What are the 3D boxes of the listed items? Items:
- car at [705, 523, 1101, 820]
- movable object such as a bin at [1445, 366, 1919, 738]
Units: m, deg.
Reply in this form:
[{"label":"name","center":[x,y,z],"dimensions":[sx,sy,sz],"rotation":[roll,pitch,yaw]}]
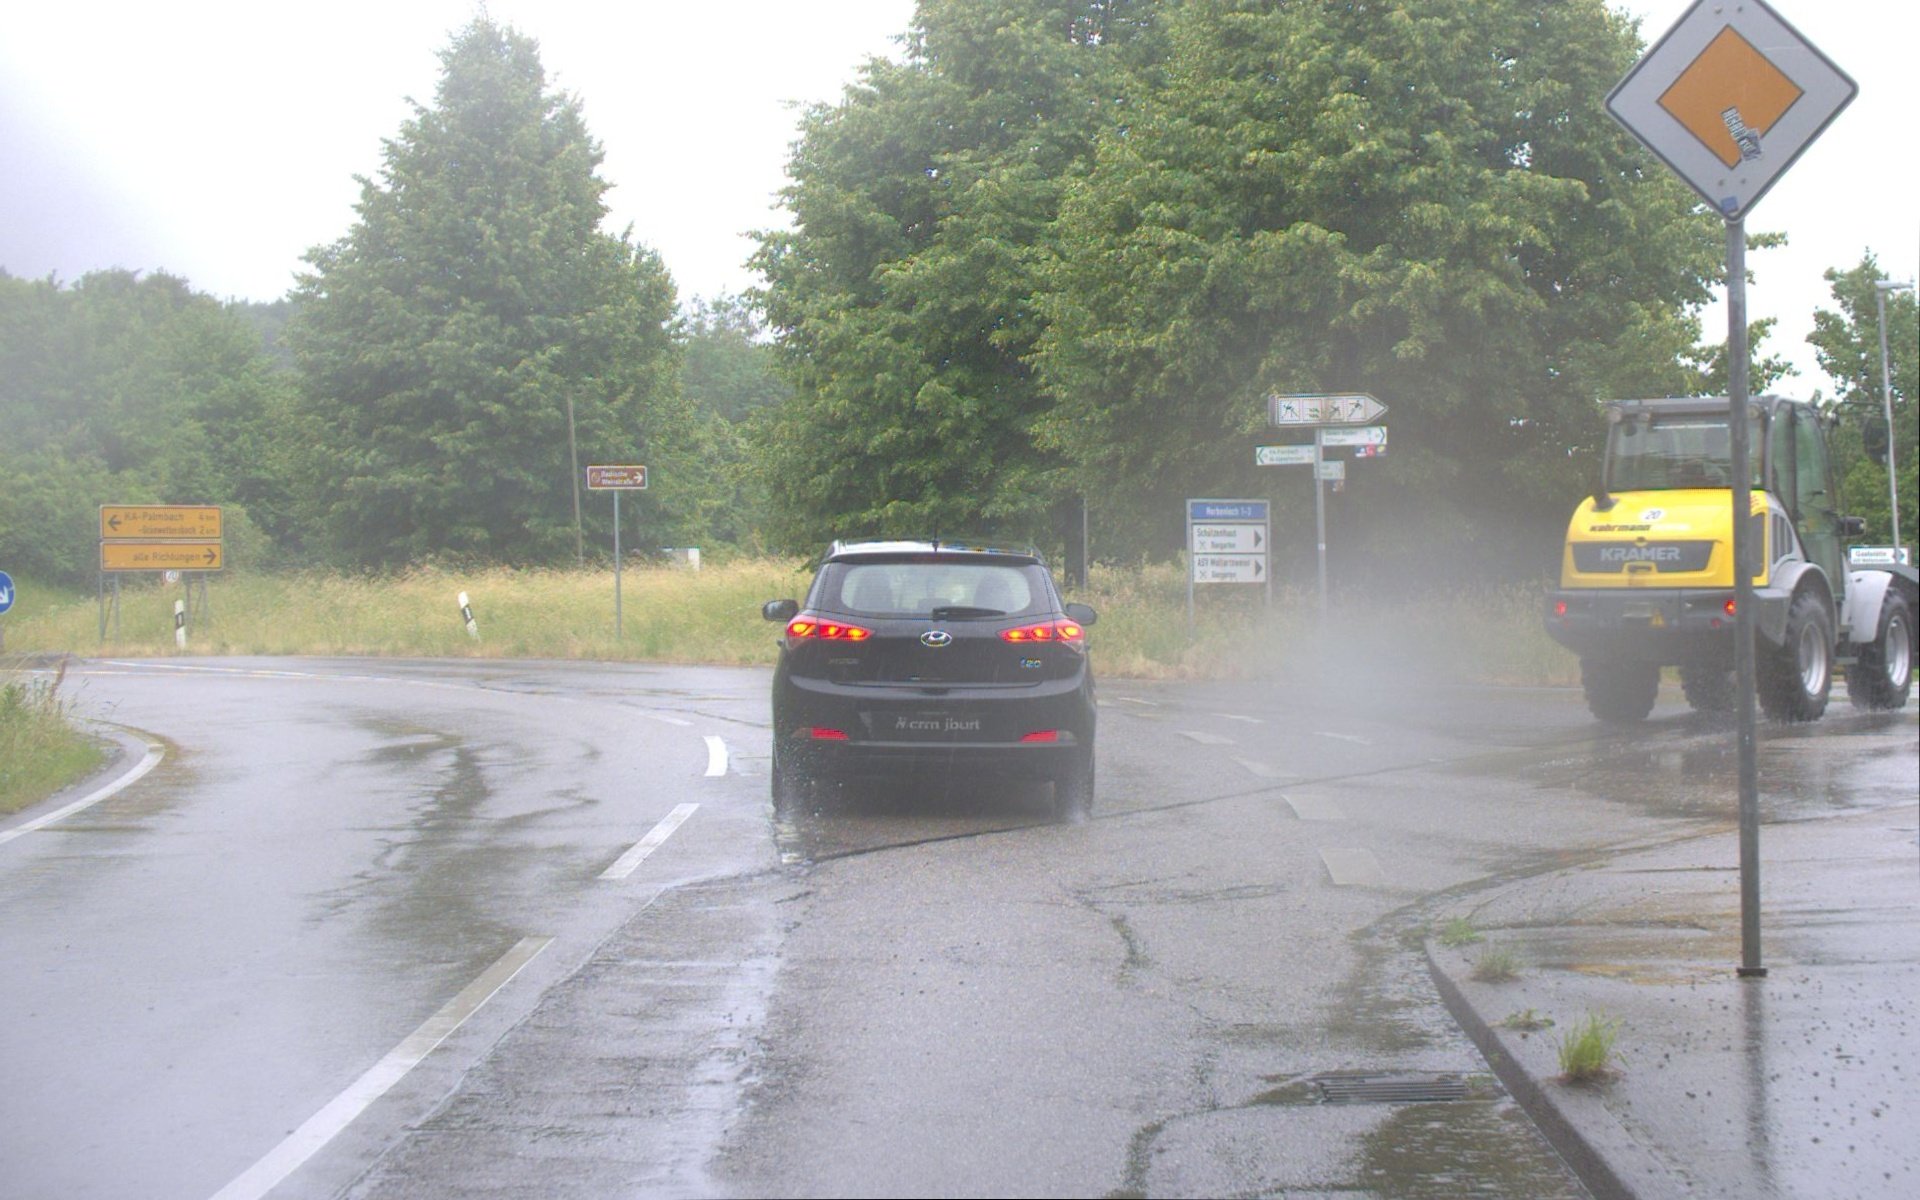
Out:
[{"label":"car","center":[-0.432,0.345,19.458],"dimensions":[1.993,1.482,4.001],"rotation":[1,0,-4]},{"label":"movable object such as a bin","center":[6.442,-0.358,27.938],"dimensions":[2.250,2.660,6.613],"rotation":[1,1,34]}]
